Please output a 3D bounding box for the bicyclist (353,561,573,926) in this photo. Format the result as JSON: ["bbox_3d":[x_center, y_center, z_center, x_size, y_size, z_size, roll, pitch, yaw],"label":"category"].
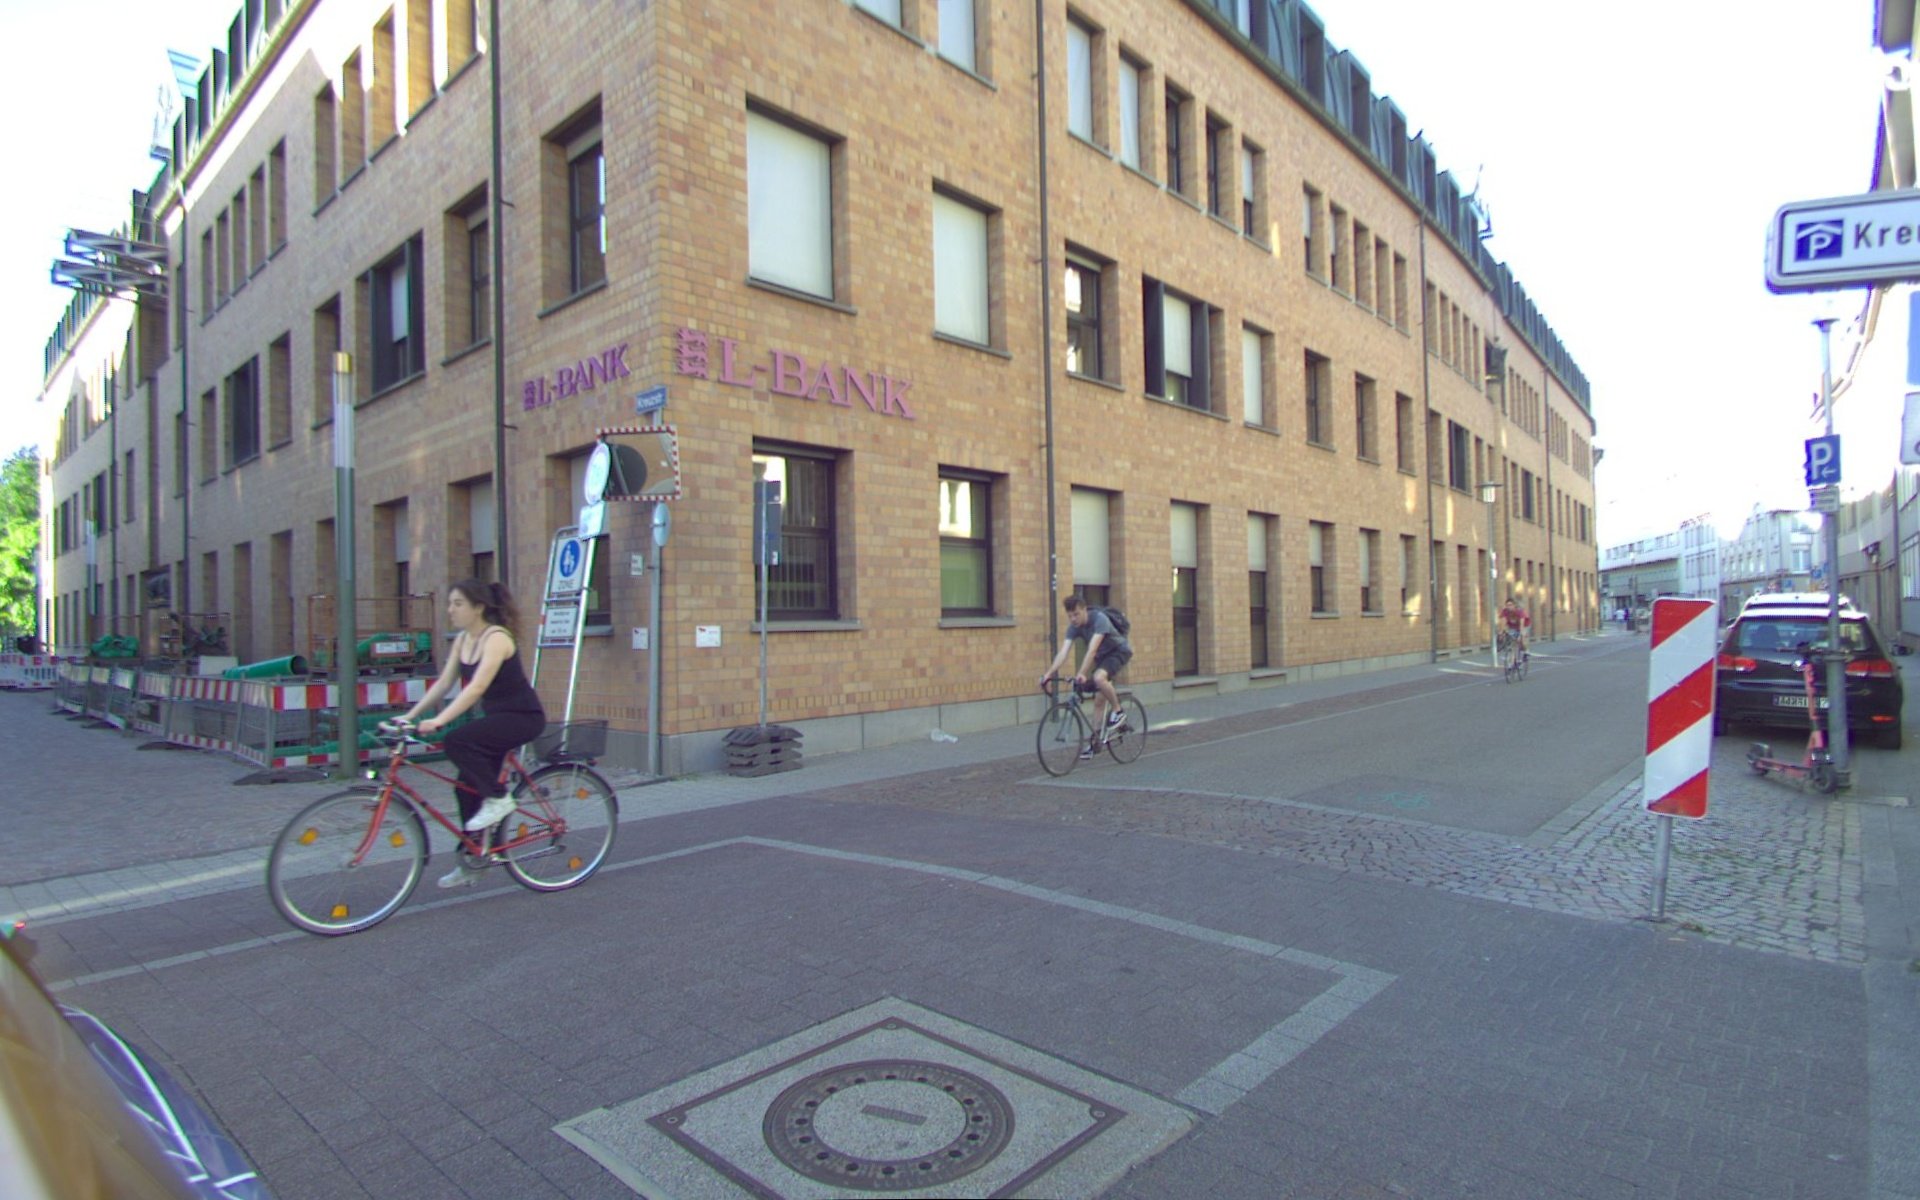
[{"bbox_3d":[-2.546,0.681,5.195,0.620,1.679,0.812,-6,-4,42],"label":"bicyclist"}]

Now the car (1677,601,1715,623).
[{"bbox_3d":[60.561,0.989,83.328,1.926,1.663,3.801,-2,-1,27],"label":"car"}]

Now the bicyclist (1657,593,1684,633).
[{"bbox_3d":[31.267,0.581,44.505,0.772,1.668,0.944,-6,-4,40],"label":"bicyclist"}]

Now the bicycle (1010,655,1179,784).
[{"bbox_3d":[1.324,1.105,9.705,0.574,1.059,1.810,-8,-5,43],"label":"bicycle"}]

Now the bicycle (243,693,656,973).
[{"bbox_3d":[-2.513,1.065,5.159,0.591,1.060,1.776,-5,-4,41],"label":"bicycle"}]

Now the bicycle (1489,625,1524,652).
[{"bbox_3d":[18.930,1.316,35.018,0.642,0.888,2.524,-1,-1,38],"label":"bicycle"}]

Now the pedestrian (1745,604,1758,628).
[{"bbox_3d":[49.680,0.987,63.525,0.570,1.490,0.468,-2,-2,34],"label":"pedestrian"}]

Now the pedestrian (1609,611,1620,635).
[{"bbox_3d":[43.691,1.545,67.575,0.543,1.556,0.399,-1,-1,40],"label":"pedestrian"}]

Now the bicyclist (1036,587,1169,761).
[{"bbox_3d":[1.385,0.693,9.771,0.650,1.570,1.094,-7,-5,44],"label":"bicyclist"}]

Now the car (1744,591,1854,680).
[{"bbox_3d":[17.970,0.700,21.650,1.673,1.717,3.958,0,0,41],"label":"car"}]

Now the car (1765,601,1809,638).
[{"bbox_3d":[42.209,0.984,51.708,1.692,1.789,3.608,0,0,39],"label":"car"}]

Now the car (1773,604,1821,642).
[{"bbox_3d":[38.970,1.042,47.165,1.692,1.692,3.461,0,0,39],"label":"car"}]

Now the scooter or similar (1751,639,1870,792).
[{"bbox_3d":[7.088,0.933,8.466,0.205,1.193,0.882,-1,-2,1],"label":"scooter or similar"}]

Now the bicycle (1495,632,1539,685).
[{"bbox_3d":[10.924,1.122,19.830,0.436,0.964,1.570,-2,-2,40],"label":"bicycle"}]

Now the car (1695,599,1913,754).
[{"bbox_3d":[9.956,0.754,11.963,1.740,1.497,3.759,0,1,41],"label":"car"}]

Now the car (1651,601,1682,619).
[{"bbox_3d":[68.172,0.955,97.733,1.926,1.663,3.801,-1,-1,27],"label":"car"}]

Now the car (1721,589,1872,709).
[{"bbox_3d":[13.333,0.689,16.108,1.673,1.674,4.025,0,0,41],"label":"car"}]

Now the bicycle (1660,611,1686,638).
[{"bbox_3d":[31.349,1.063,44.493,0.704,1.112,1.804,-7,-5,39],"label":"bicycle"}]

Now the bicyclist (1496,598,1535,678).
[{"bbox_3d":[10.901,0.743,19.848,0.428,1.509,0.864,-5,-4,39],"label":"bicyclist"}]
